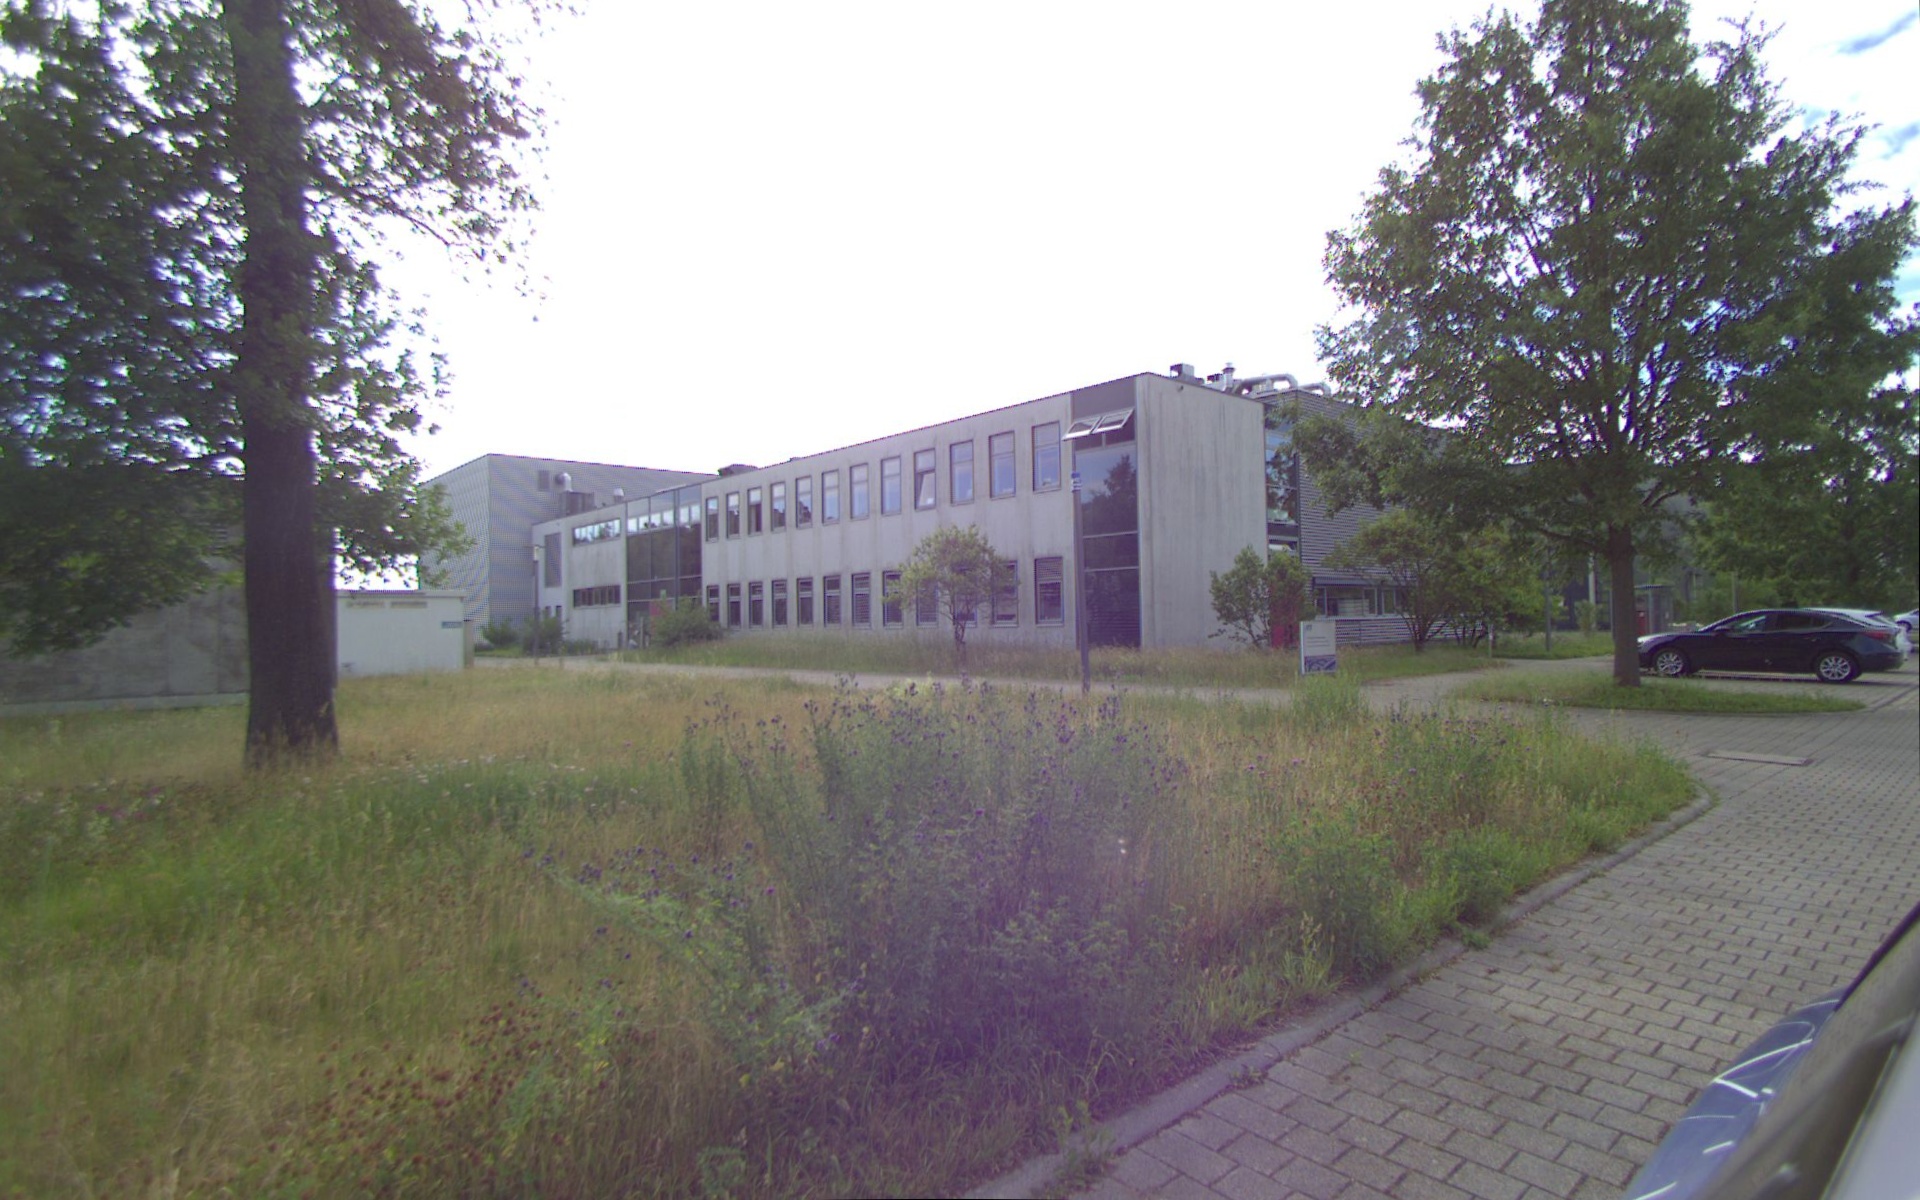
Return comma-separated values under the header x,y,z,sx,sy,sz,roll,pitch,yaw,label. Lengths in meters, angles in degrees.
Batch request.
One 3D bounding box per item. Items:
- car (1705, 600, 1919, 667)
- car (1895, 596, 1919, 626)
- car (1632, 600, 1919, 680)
x,y,z,sx,sy,sz,roll,pitch,yaw,label
20.607,0.771,24.390,1.850,1.485,3.980,0,-1,-42,car
53.935,0.595,55.252,1.907,1.645,4.123,0,1,-44,car
16.782,0.739,20.954,1.911,1.465,4.469,0,0,-42,car
